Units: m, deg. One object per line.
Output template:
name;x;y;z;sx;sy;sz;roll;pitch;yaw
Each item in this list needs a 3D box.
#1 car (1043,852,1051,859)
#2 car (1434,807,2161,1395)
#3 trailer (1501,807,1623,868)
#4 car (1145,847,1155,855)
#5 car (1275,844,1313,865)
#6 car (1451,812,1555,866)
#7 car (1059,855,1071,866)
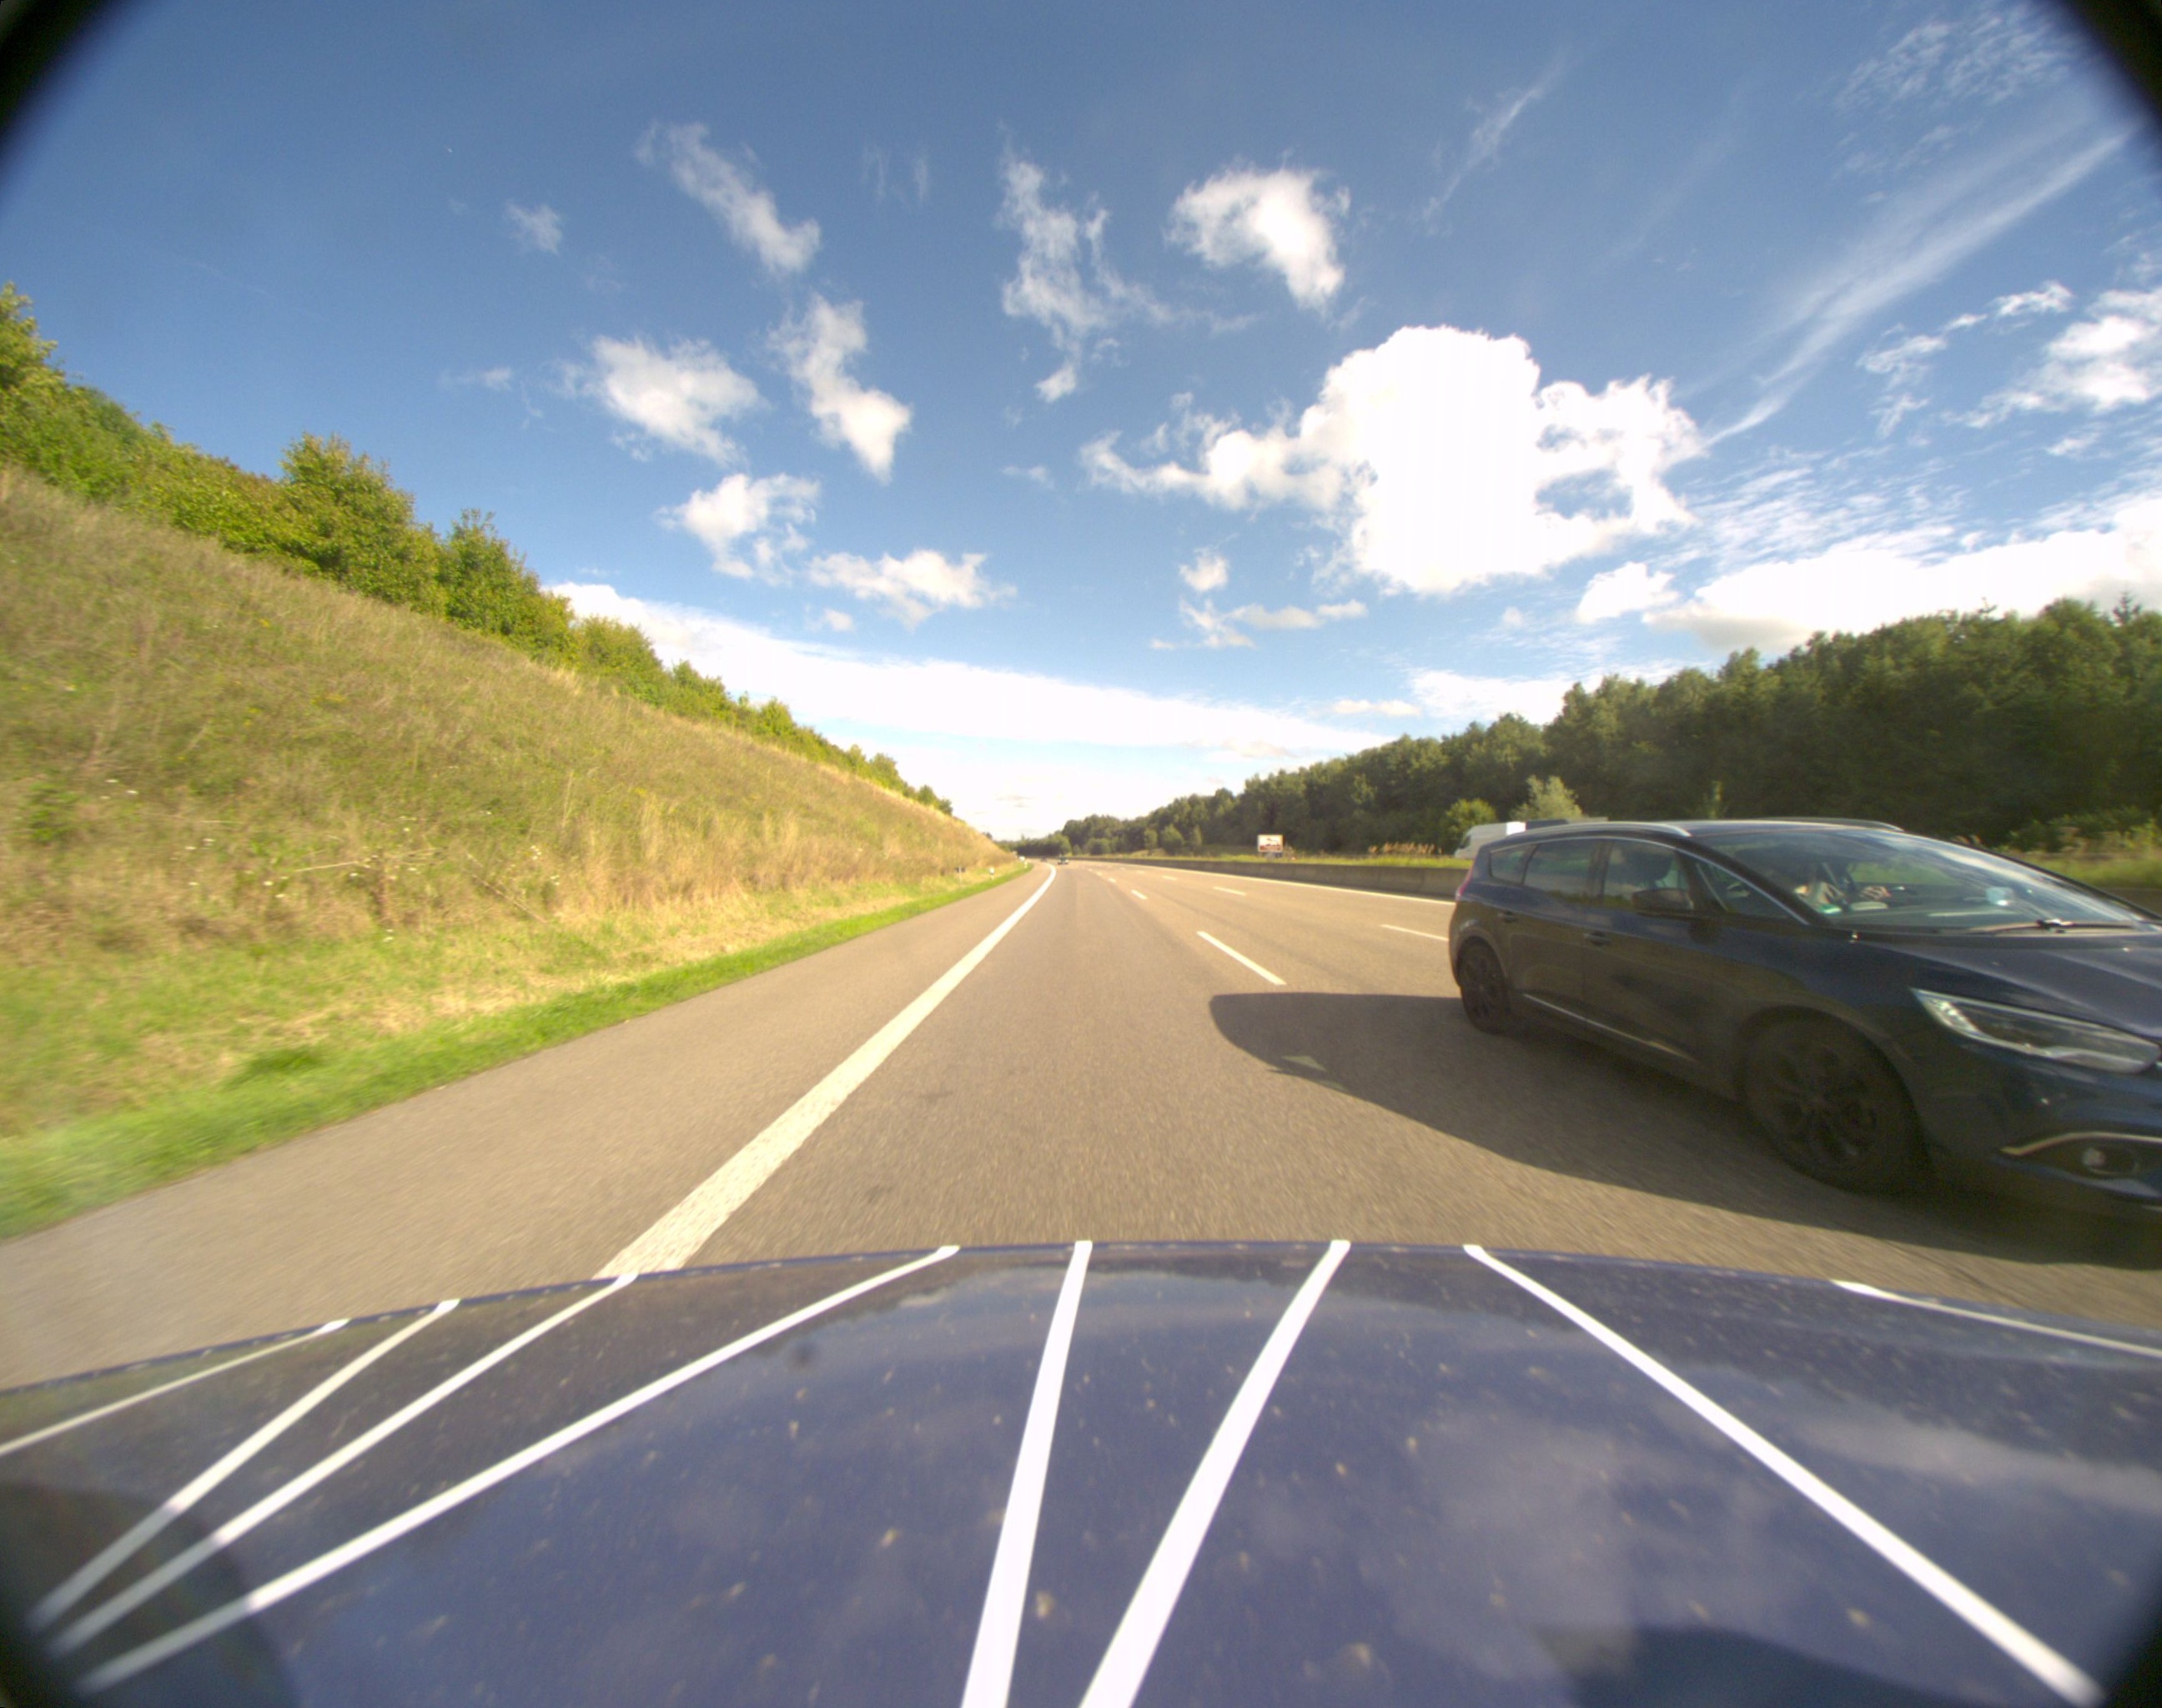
car;-9.870;0.440;219.952;2.000;2.002;3.997;-3;1;-7
car;4.081;0.670;4.313;1.999;1.697;4.528;-2;0;0
trailer;23.123;-0.743;36.879;2.276;2.668;5.561;-2;0;-1
car;16.468;-0.794;180.992;1.999;1.737;4.048;-2;0;-2
car;16.199;0.008;57.935;1.893;1.498;3.574;-2;0;0
car;23.031;-0.771;41.789;2.276;2.668;5.887;-2;0;-1
car;-2.996;1.176;140.050;1.999;1.827;3.998;-2;1;-2
